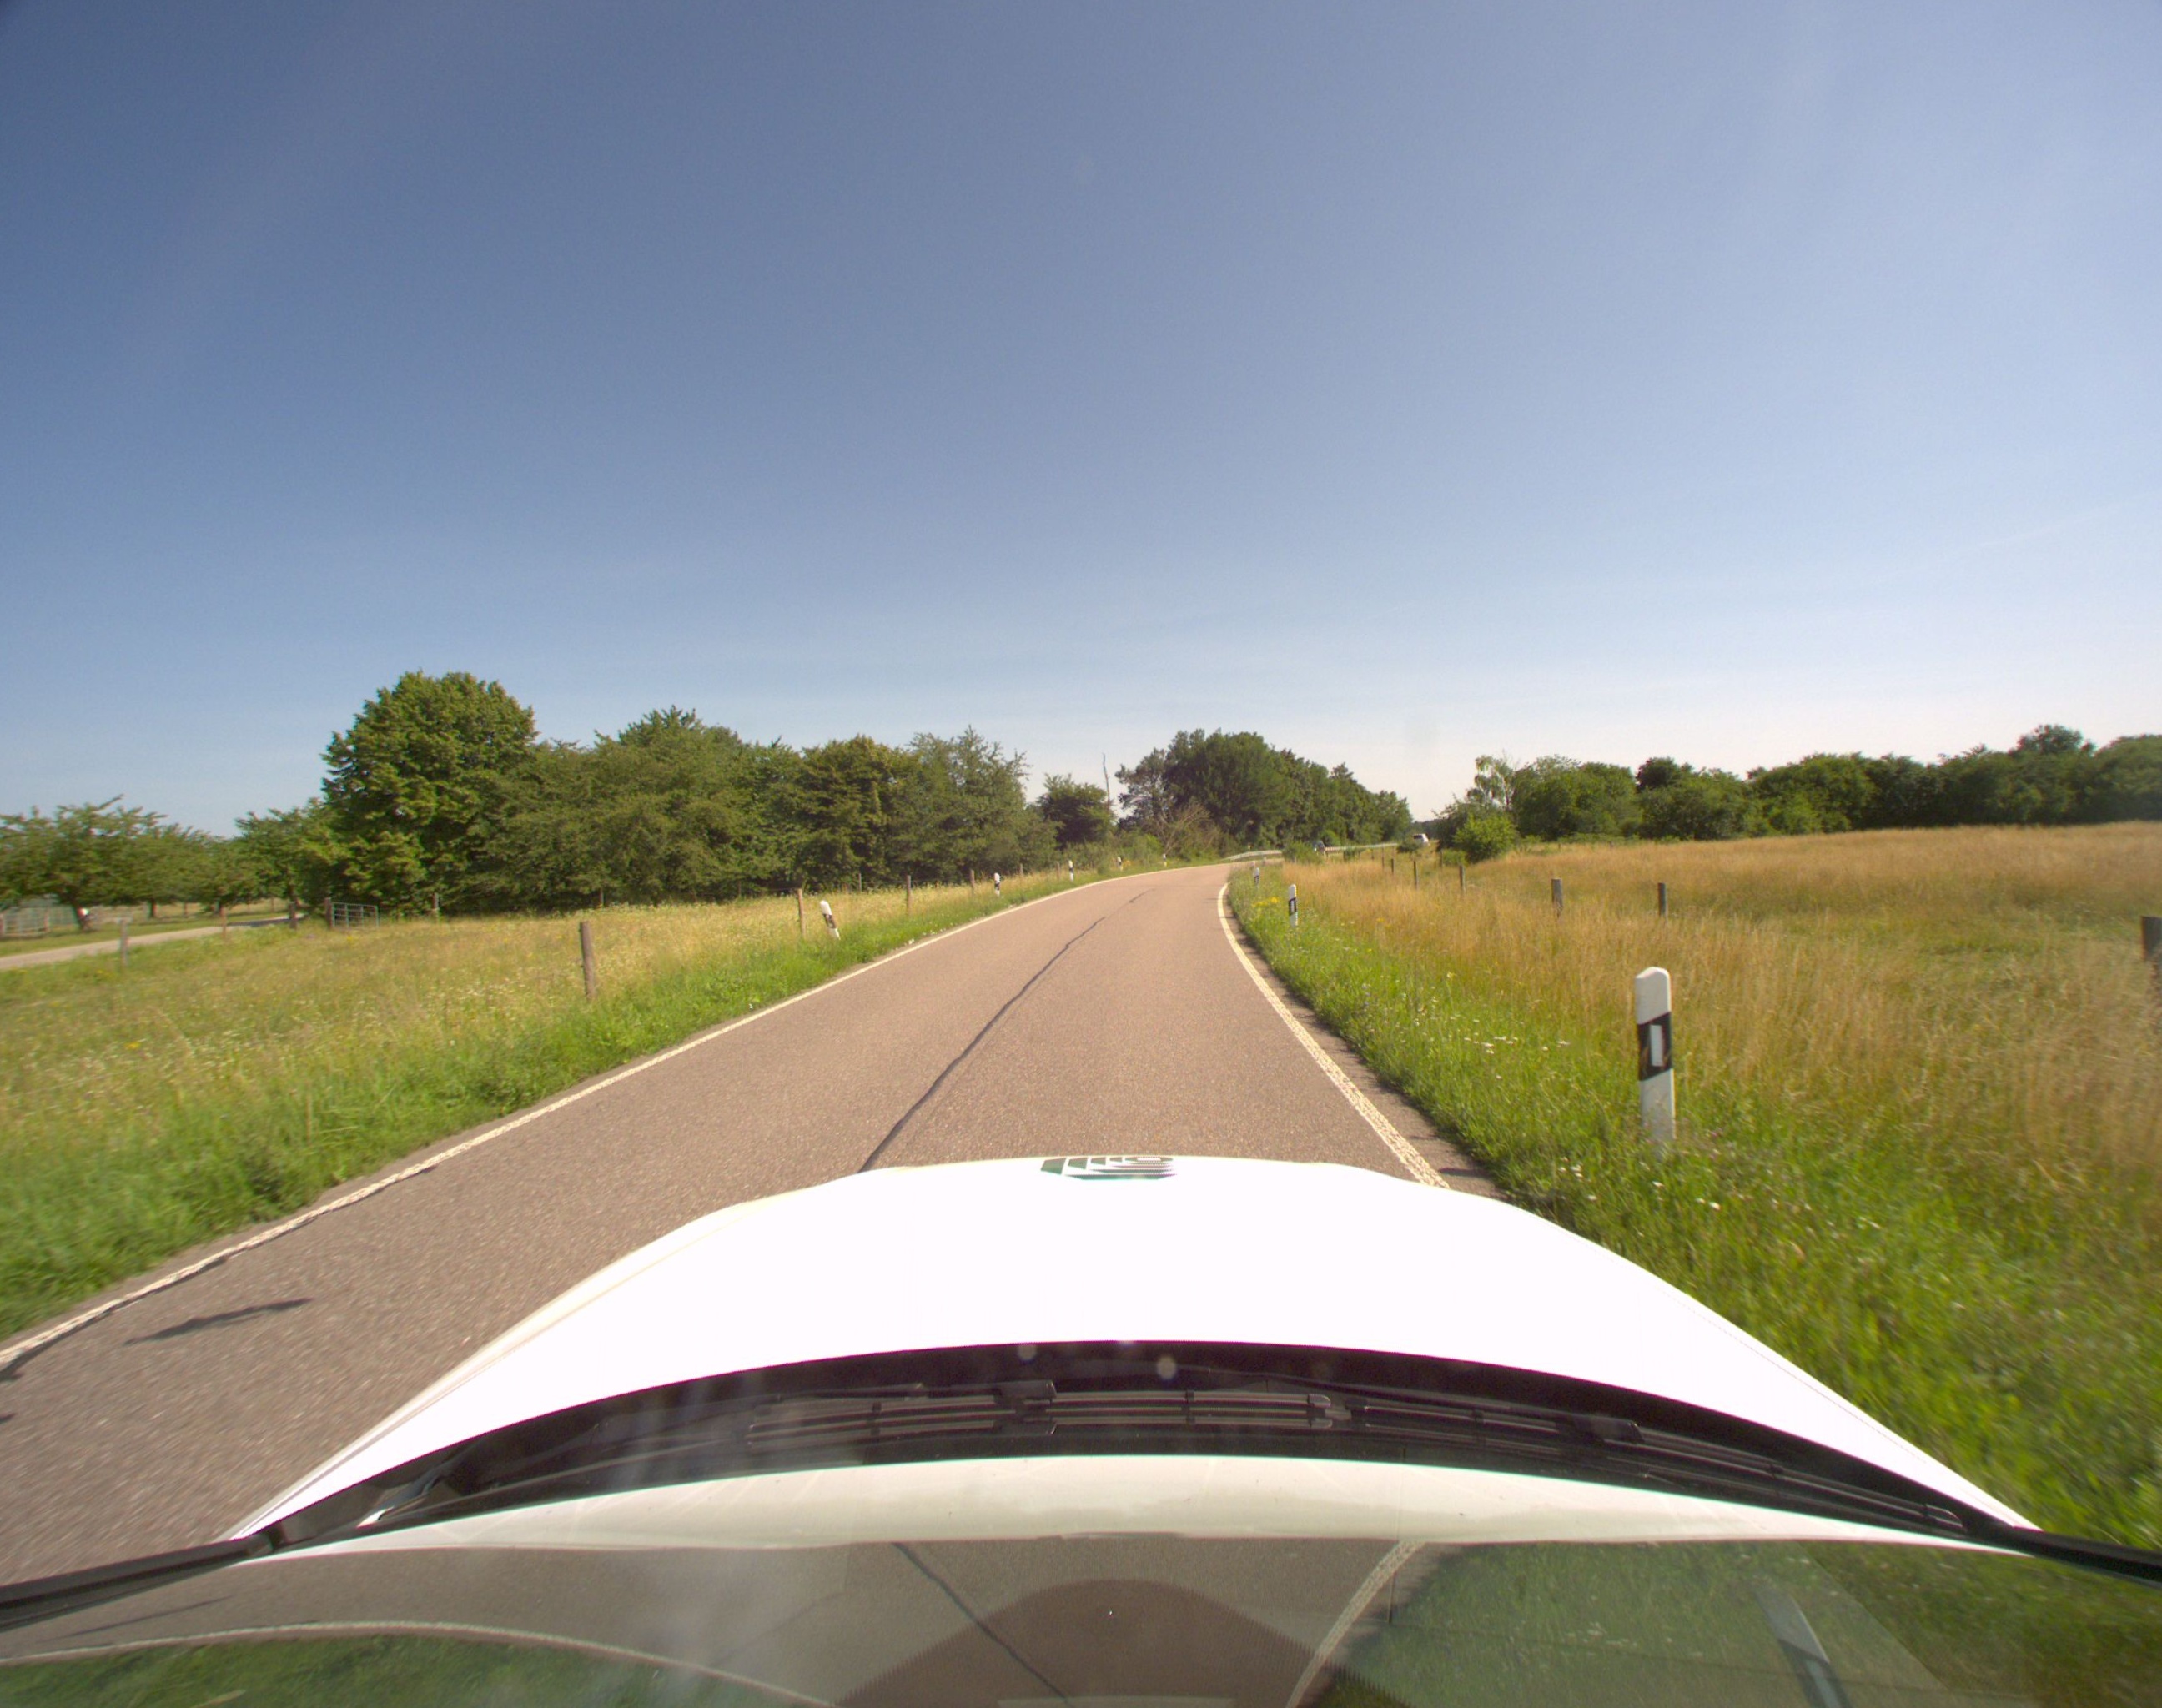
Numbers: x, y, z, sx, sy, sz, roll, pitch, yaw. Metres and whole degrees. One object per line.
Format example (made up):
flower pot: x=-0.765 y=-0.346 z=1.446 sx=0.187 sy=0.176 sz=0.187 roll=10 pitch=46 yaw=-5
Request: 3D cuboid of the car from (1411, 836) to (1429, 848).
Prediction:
car: x=52.885 y=-1.865 z=126.930 sx=1.943 sy=1.802 sz=4.186 roll=-1 pitch=-1 yaw=31

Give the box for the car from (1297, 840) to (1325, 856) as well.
car: x=23.492 y=-0.585 z=83.113 sx=1.767 sy=1.632 sz=4.186 roll=-1 pitch=-1 yaw=31
